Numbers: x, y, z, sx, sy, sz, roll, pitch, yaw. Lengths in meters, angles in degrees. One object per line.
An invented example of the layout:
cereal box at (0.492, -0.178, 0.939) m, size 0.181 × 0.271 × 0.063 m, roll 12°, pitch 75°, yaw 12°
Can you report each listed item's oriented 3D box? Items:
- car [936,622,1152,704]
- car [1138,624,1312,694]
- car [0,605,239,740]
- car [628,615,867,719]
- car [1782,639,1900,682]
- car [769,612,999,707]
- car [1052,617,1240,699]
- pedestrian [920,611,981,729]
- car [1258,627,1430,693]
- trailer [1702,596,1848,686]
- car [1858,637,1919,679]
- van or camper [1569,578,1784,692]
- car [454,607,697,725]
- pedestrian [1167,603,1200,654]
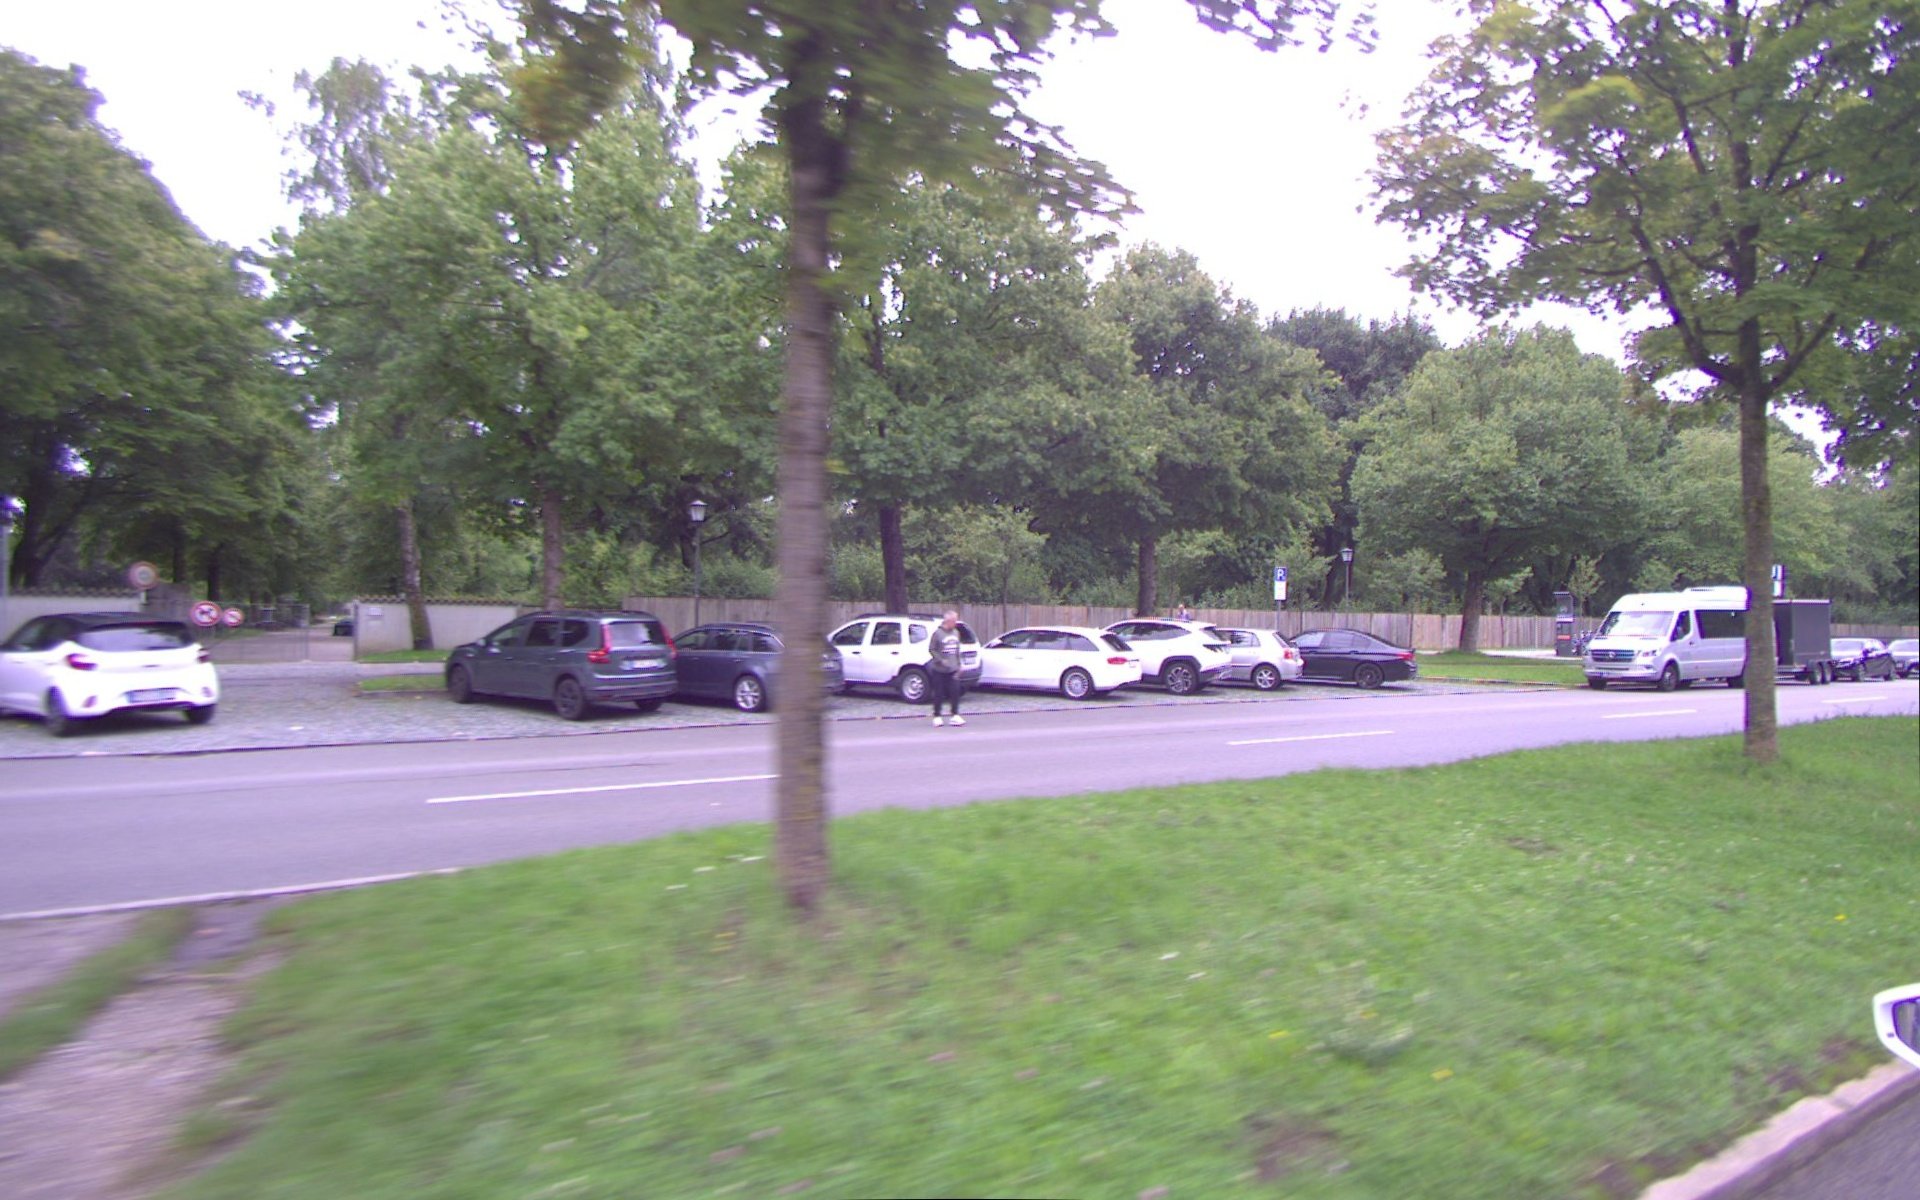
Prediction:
car at (1.794, 1.286, 21.557) m, size 4.243 × 1.457 × 1.800 m, roll 2°, pitch 0°, yaw 26°
car at (6.576, 1.409, 24.899) m, size 3.923 × 1.485 × 1.800 m, roll 2°, pitch 0°, yaw 24°
car at (-12.012, 0.879, 13.996) m, size 3.931 × 1.483 × 1.886 m, roll 2°, pitch 1°, yaw 33°
car at (-3.844, 1.125, 18.116) m, size 3.925 × 1.506 × 1.800 m, roll 2°, pitch 1°, yaw 26°
car at (30.042, 2.020, 34.243) m, size 4.188 × 1.402 × 1.792 m, roll 1°, pitch -2°, yaw -30°
car at (-1.547, 1.117, 20.122) m, size 4.243 × 1.594 × 1.800 m, roll 2°, pitch 0°, yaw 26°
car at (4.300, 1.269, 23.171) m, size 3.924 × 1.644 × 1.800 m, roll 2°, pitch 0°, yaw 24°
pedestrian at (-0.158, 1.056, 15.331) m, size 0.757 × 1.720 × 0.872 m, roll 2°, pitch -2°, yaw -10°
car at (9.987, 1.502, 26.190) m, size 3.929 × 1.453 × 1.798 m, roll 2°, pitch 0°, yaw 31°
trailer at (25.363, 1.267, 31.227) m, size 4.604 × 2.624 × 2.007 m, roll 1°, pitch -2°, yaw -30°
car at (35.268, 2.112, 37.151) m, size 4.379 × 1.444 × 1.792 m, roll 1°, pitch -2°, yaw -30°
van or camper at (20.212, 0.992, 28.187) m, size 7.458 × 2.875 × 2.026 m, roll 1°, pitch -2°, yaw -30°
car at (-6.516, 1.010, 16.918) m, size 3.930 × 1.608 × 1.797 m, roll 2°, pitch 1°, yaw 32°
pedestrian at (7.883, 1.005, 35.471) m, size 0.865 × 1.790 × 0.763 m, roll 1°, pitch -2°, yaw -34°
